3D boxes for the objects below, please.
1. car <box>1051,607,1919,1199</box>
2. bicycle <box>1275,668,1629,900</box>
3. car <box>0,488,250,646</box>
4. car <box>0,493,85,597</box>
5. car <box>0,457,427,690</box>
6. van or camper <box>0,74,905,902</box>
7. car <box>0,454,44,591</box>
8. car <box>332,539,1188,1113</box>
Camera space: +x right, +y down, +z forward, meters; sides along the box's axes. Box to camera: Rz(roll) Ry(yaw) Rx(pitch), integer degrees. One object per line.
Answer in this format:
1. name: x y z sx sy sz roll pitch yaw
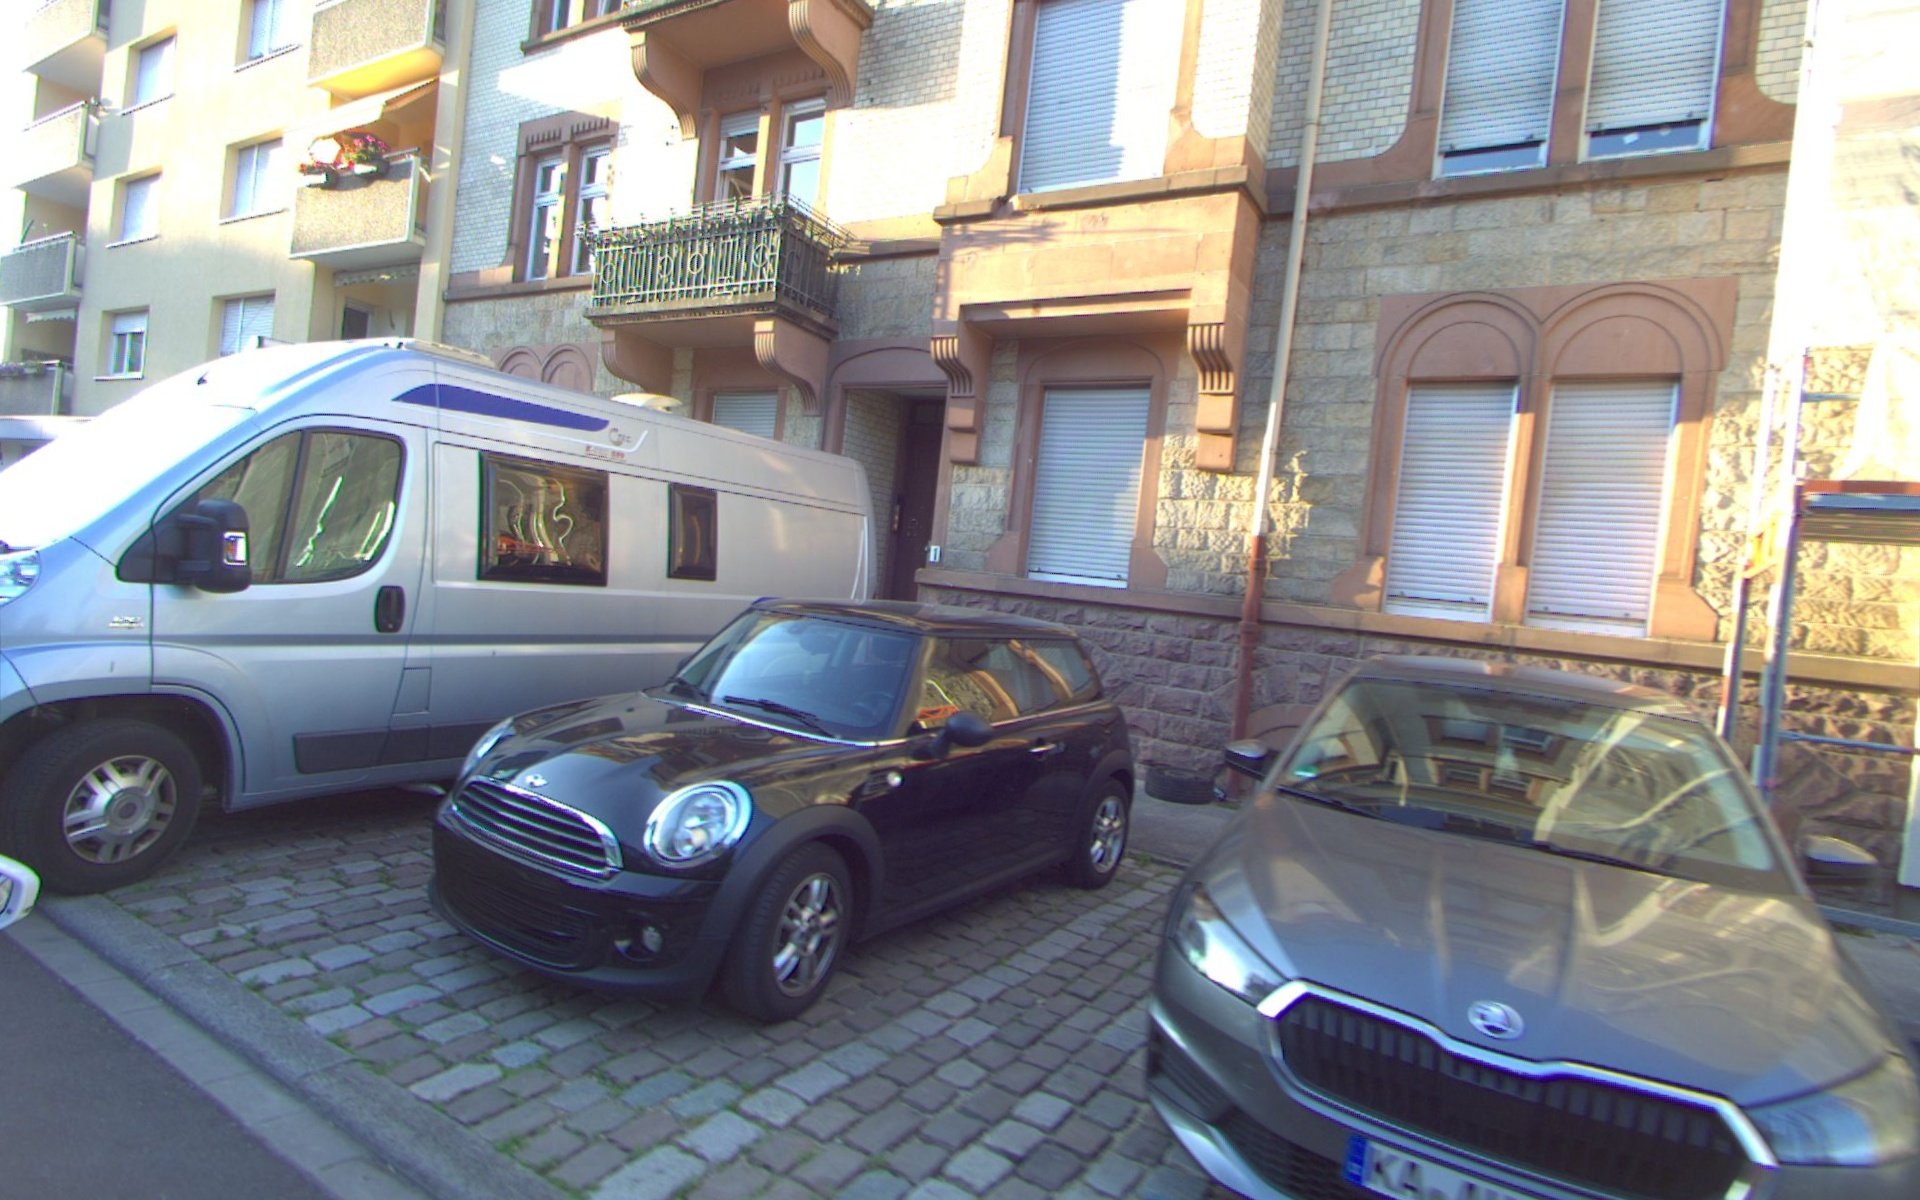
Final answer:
1. car: 2.048 0.917 3.649 1.984 1.536 3.991 7 2 27
2. bicycle: 3.331 1.197 6.980 1.999 1.182 0.632 7 0 26
3. car: -9.786 -0.387 10.047 1.803 1.473 3.991 7 2 27
4. car: -15.067 -0.930 13.824 1.690 1.444 4.239 7 1 31
5. car: -7.455 -0.231 9.045 1.741 1.750 4.443 7 1 25
6. van or camper: -2.968 -0.231 6.041 2.074 2.802 5.940 7 -1 30
7. car: -17.268 -1.517 15.082 1.966 2.171 4.715 7 -1 30
8. car: -0.477 0.651 4.862 1.758 1.505 3.935 5 1 33
